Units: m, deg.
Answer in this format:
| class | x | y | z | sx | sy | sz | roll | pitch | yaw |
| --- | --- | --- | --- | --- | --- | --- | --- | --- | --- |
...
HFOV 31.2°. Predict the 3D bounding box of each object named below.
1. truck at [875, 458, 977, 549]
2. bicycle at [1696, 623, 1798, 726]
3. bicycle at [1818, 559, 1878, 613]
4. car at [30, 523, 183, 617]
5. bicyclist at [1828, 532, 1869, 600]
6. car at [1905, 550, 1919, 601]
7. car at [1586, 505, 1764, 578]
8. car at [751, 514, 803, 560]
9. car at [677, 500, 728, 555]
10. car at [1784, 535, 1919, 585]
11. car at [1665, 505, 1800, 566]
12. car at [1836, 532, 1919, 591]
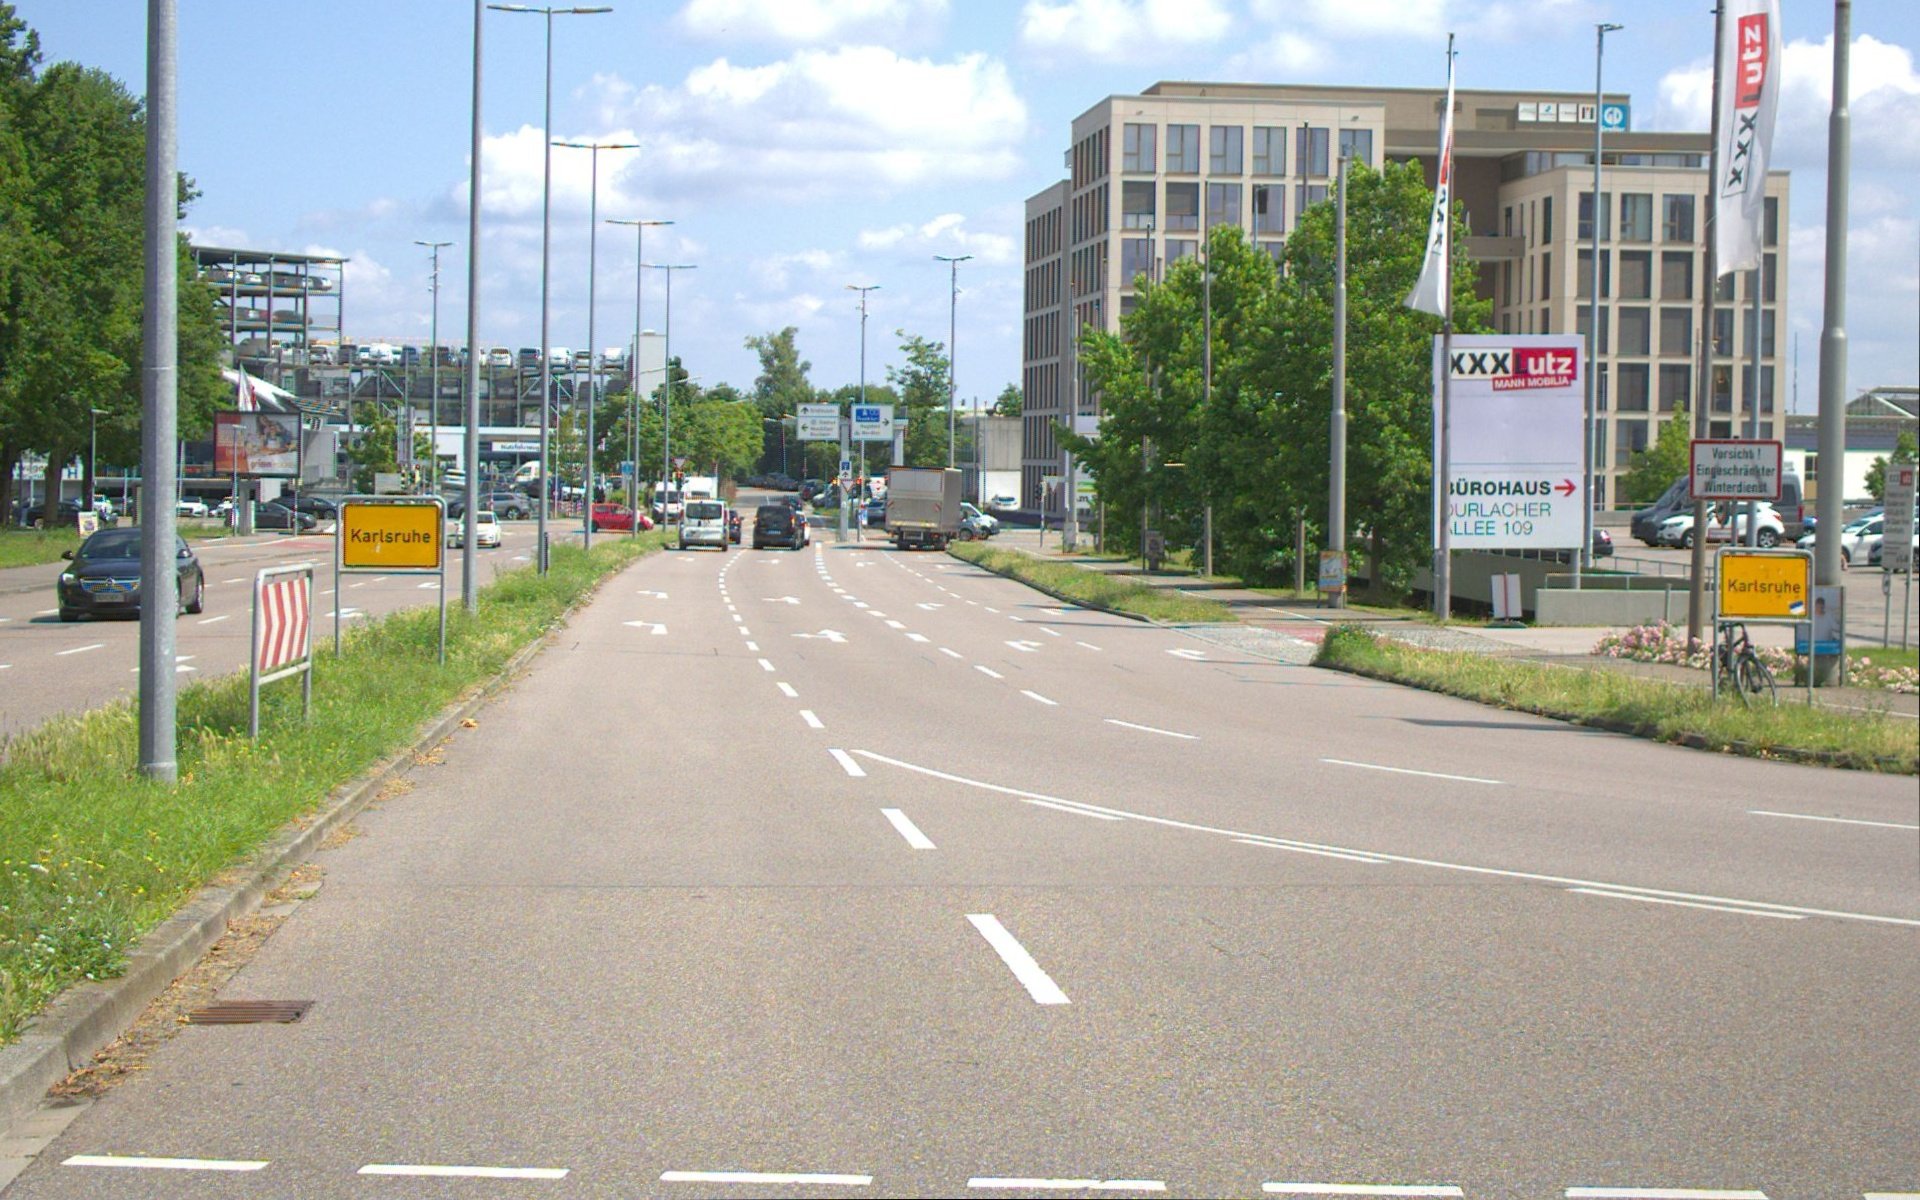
| class | x | y | z | sx | sy | sz | roll | pitch | yaw |
| --- | --- | --- | --- | --- | --- | --- | --- | --- | --- |
| truck | -1.473 | -4.409 | 156.967 | 3.131 | 3.927 | 8.855 | 2 | 2 | 9 |
| bicycle | 7.736 | 0.724 | 33.846 | 0.517 | 0.949 | 1.544 | 2 | 1 | -5 |
| bicycle | 18.671 | -0.301 | 72.329 | 0.623 | 1.064 | 1.968 | 0 | 2 | -4 |
| car | -13.652 | -0.499 | 55.199 | 1.663 | 1.416 | 4.520 | -1 | 1 | -5 |
| bicyclist | 18.682 | -0.723 | 72.310 | 0.615 | 1.408 | 0.715 | 1 | 2 | -4 |
| car | 27.039 | -0.637 | 89.831 | 4.183 | 1.320 | 1.688 | 0 | 2 | -4 |
| car | 24.963 | -2.058 | 120.182 | 5.657 | 2.358 | 2.062 | 2 | 1 | -6 |
| car | -7.553 | -2.628 | 142.253 | 1.820 | 1.802 | 4.000 | 2 | 1 | 1 |
| car | -9.932 | -2.816 | 132.740 | 1.855 | 2.011 | 4.001 | 2 | 2 | -4 |
| car | 26.346 | -1.180 | 100.014 | 4.182 | 1.384 | 1.893 | 0 | 2 | -7 |
| car | 25.904 | -2.187 | 115.377 | 3.986 | 2.006 | 2.000 | 0 | 2 | -4 |
| car | 26.596 | -1.034 | 95.247 | 3.986 | 1.565 | 2.000 | 2 | 1 | -6 |
